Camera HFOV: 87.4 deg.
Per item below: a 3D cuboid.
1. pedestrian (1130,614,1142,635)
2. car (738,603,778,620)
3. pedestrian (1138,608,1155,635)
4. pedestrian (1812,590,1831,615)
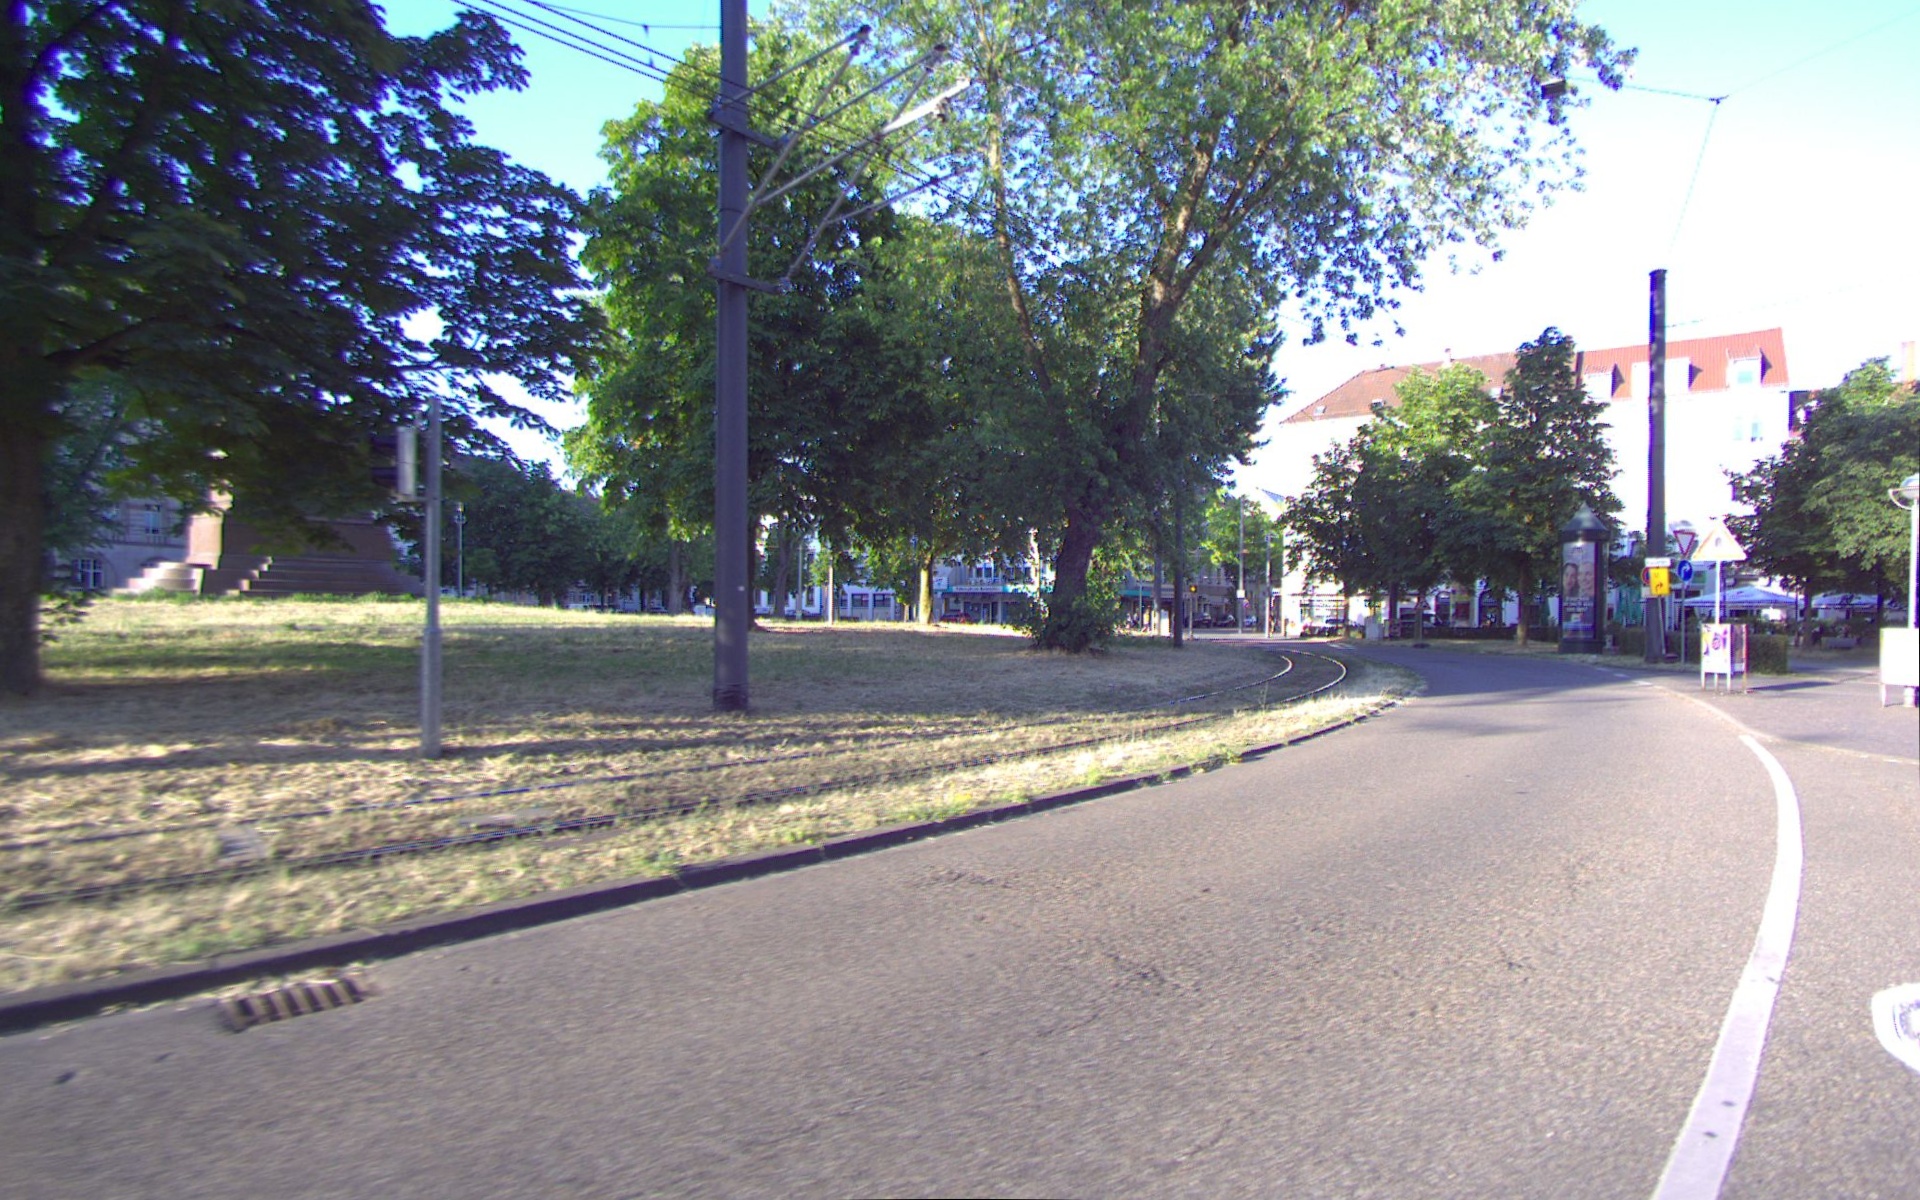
[{"bbox_3d":[16.787,2.354,95.882,0.879,1.947,0.876,1,2,36],"label":"pedestrian"},{"bbox_3d":[-21.299,1.170,106.098,3.934,1.728,1.993,1,0,36],"label":"car"},{"bbox_3d":[12.185,1.412,65.699,0.814,1.722,0.740,-1,2,-31],"label":"pedestrian"},{"bbox_3d":[42.589,0.129,49.661,0.519,1.232,0.532,0,-1,-23],"label":"pedestrian"}]
